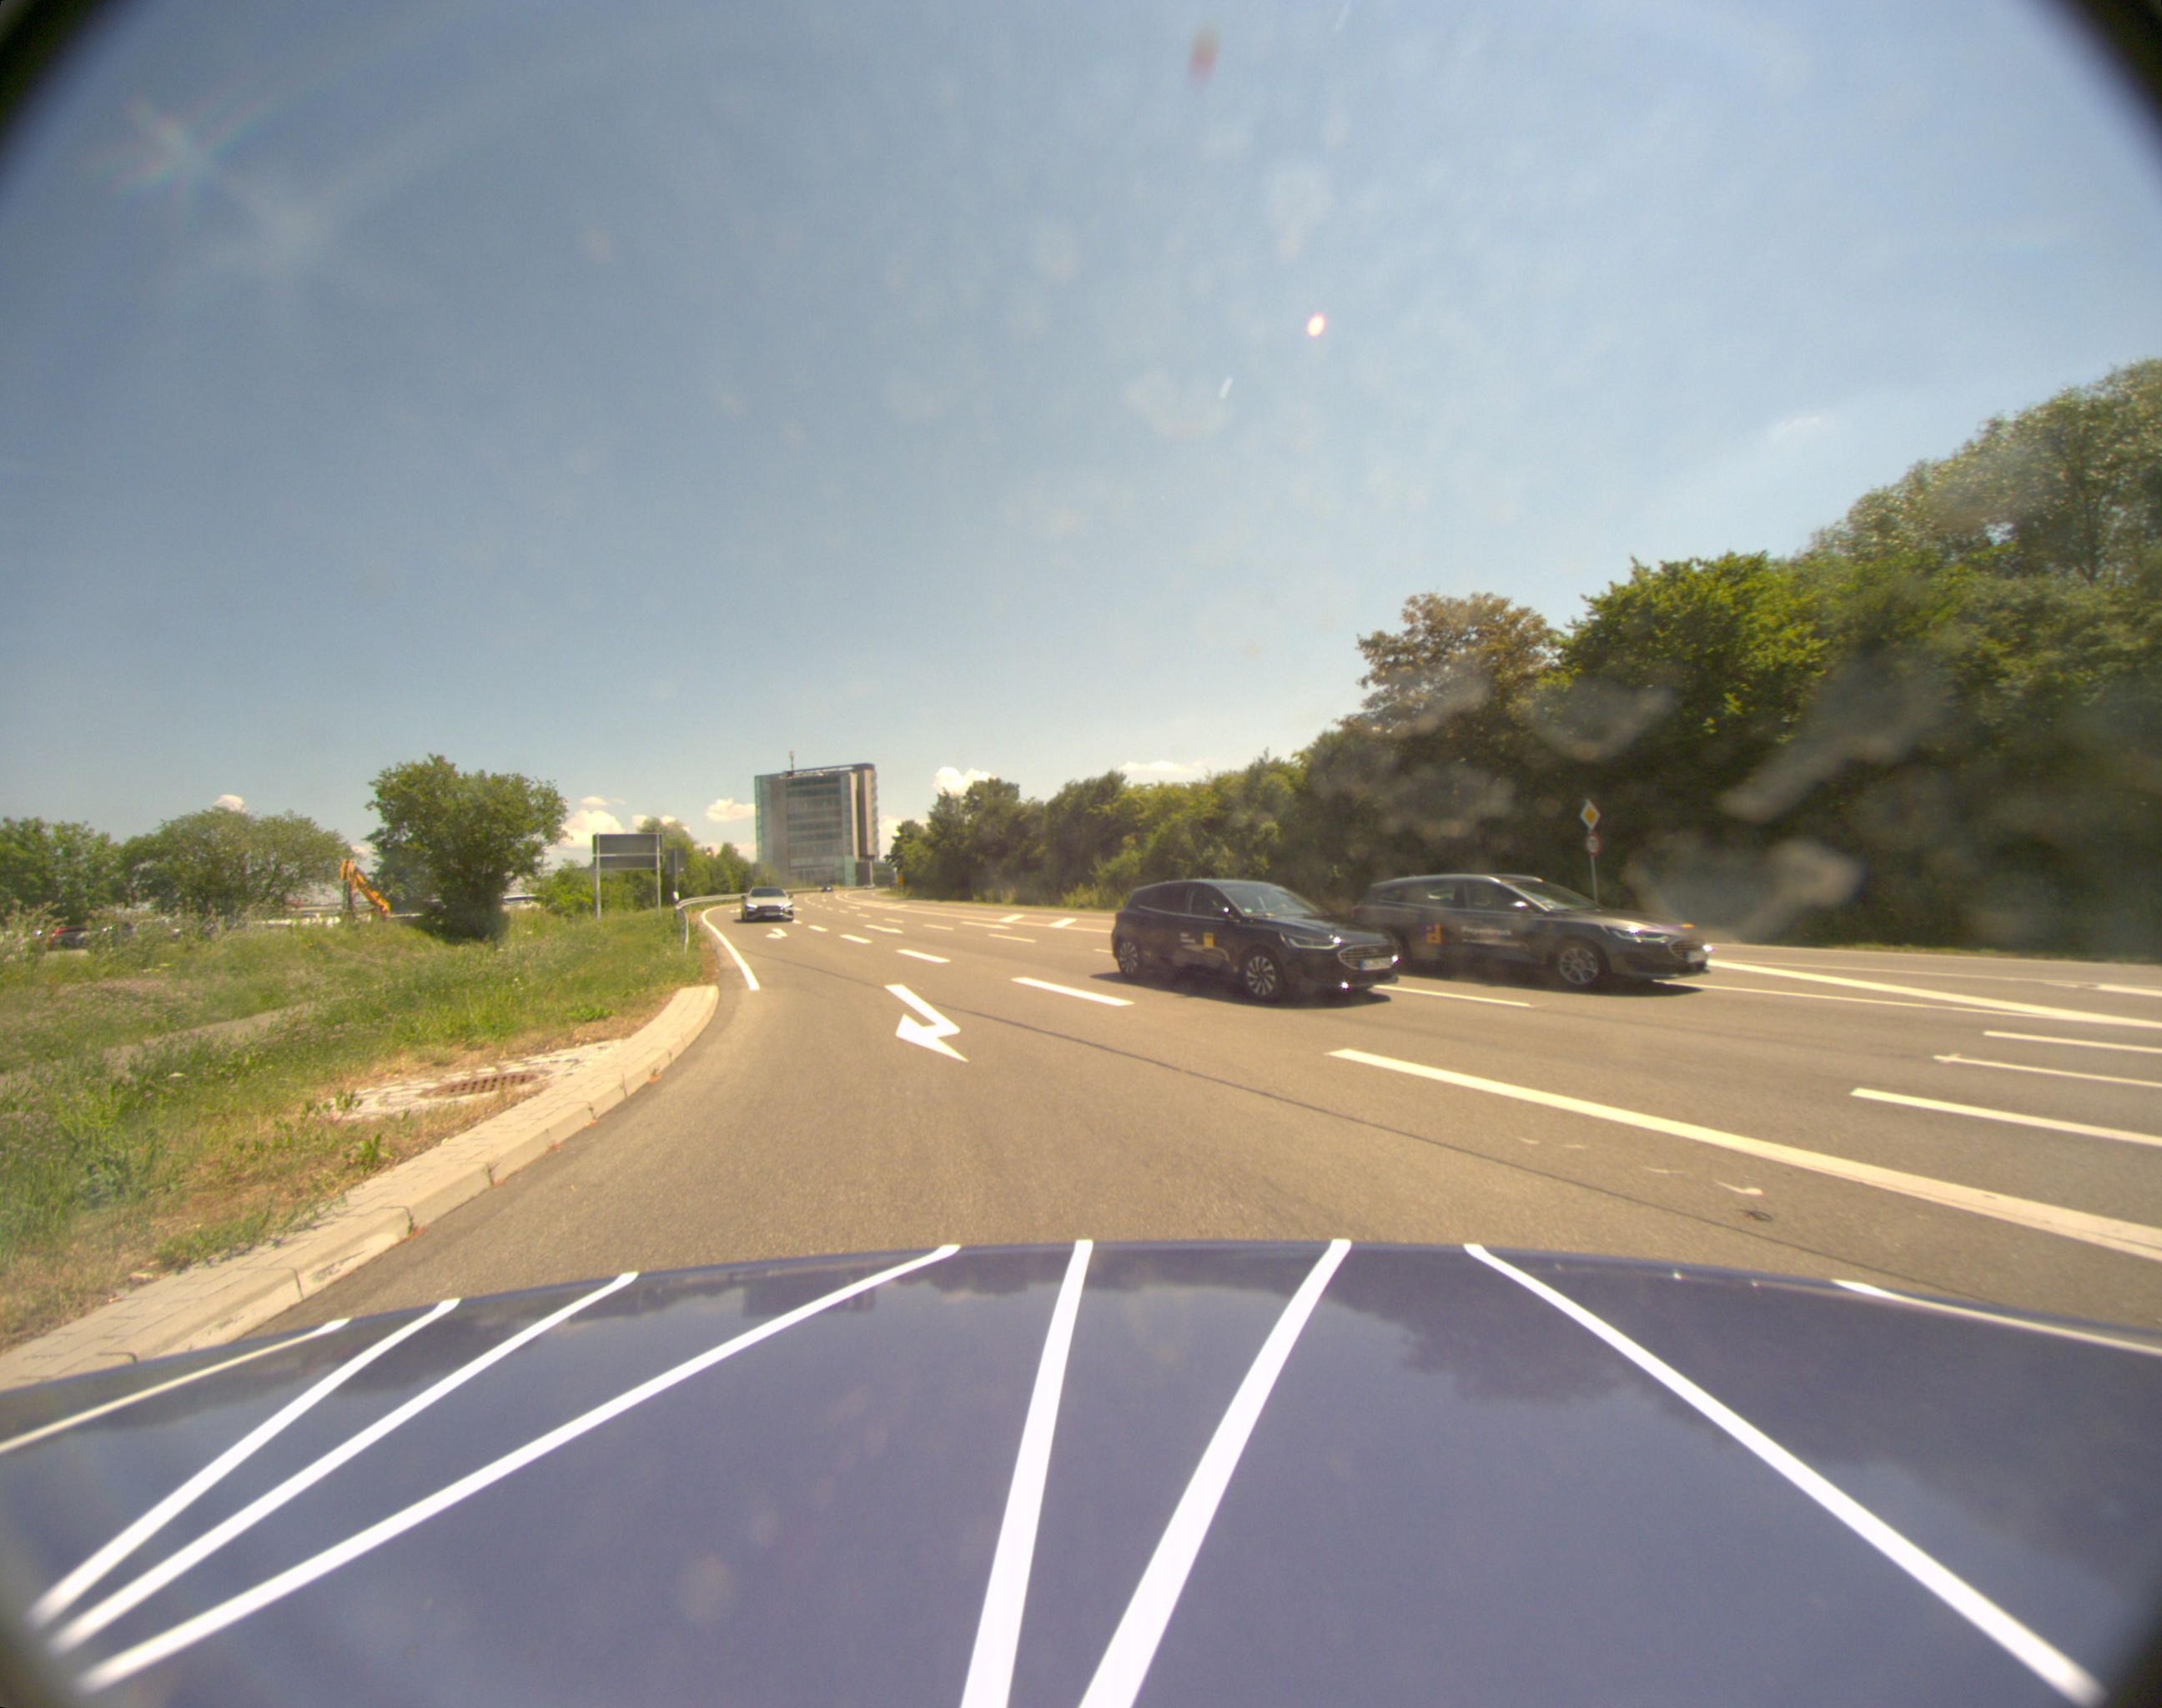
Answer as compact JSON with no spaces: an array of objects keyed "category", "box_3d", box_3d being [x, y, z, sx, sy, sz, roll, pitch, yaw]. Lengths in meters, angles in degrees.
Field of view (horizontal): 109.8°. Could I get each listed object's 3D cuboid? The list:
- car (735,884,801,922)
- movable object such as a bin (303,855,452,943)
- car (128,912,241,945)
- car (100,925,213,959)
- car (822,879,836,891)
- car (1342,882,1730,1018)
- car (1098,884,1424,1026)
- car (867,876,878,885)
[{"category":"car","box_3d":[-13.086,2.019,31.646,1.926,1.433,4.473,1,-3,-30]},{"category":"movable object such as a bin","box_3d":[-36.119,2.130,39.466,2.991,4.021,8.090,0,0,-22]},{"category":"car","box_3d":[-53.470,4.412,45.439,1.998,1.630,4.001,0,0,1]},{"category":"car","box_3d":[-56.056,5.314,46.192,1.998,1.630,4.001,0,0,1]},{"category":"car","box_3d":[-43.405,5.300,130.657,2.002,2.002,3.993,0,0,-22]},{"category":"car","box_3d":[6.053,1.149,10.733,1.742,1.433,4.383,0,-1,-30]},{"category":"car","box_3d":[2.114,1.162,10.207,1.742,1.433,4.290,0,-2,-31]},{"category":"car","box_3d":[-49.064,6.242,178.875,2.000,2.002,3.997,0,0,-9]}]
